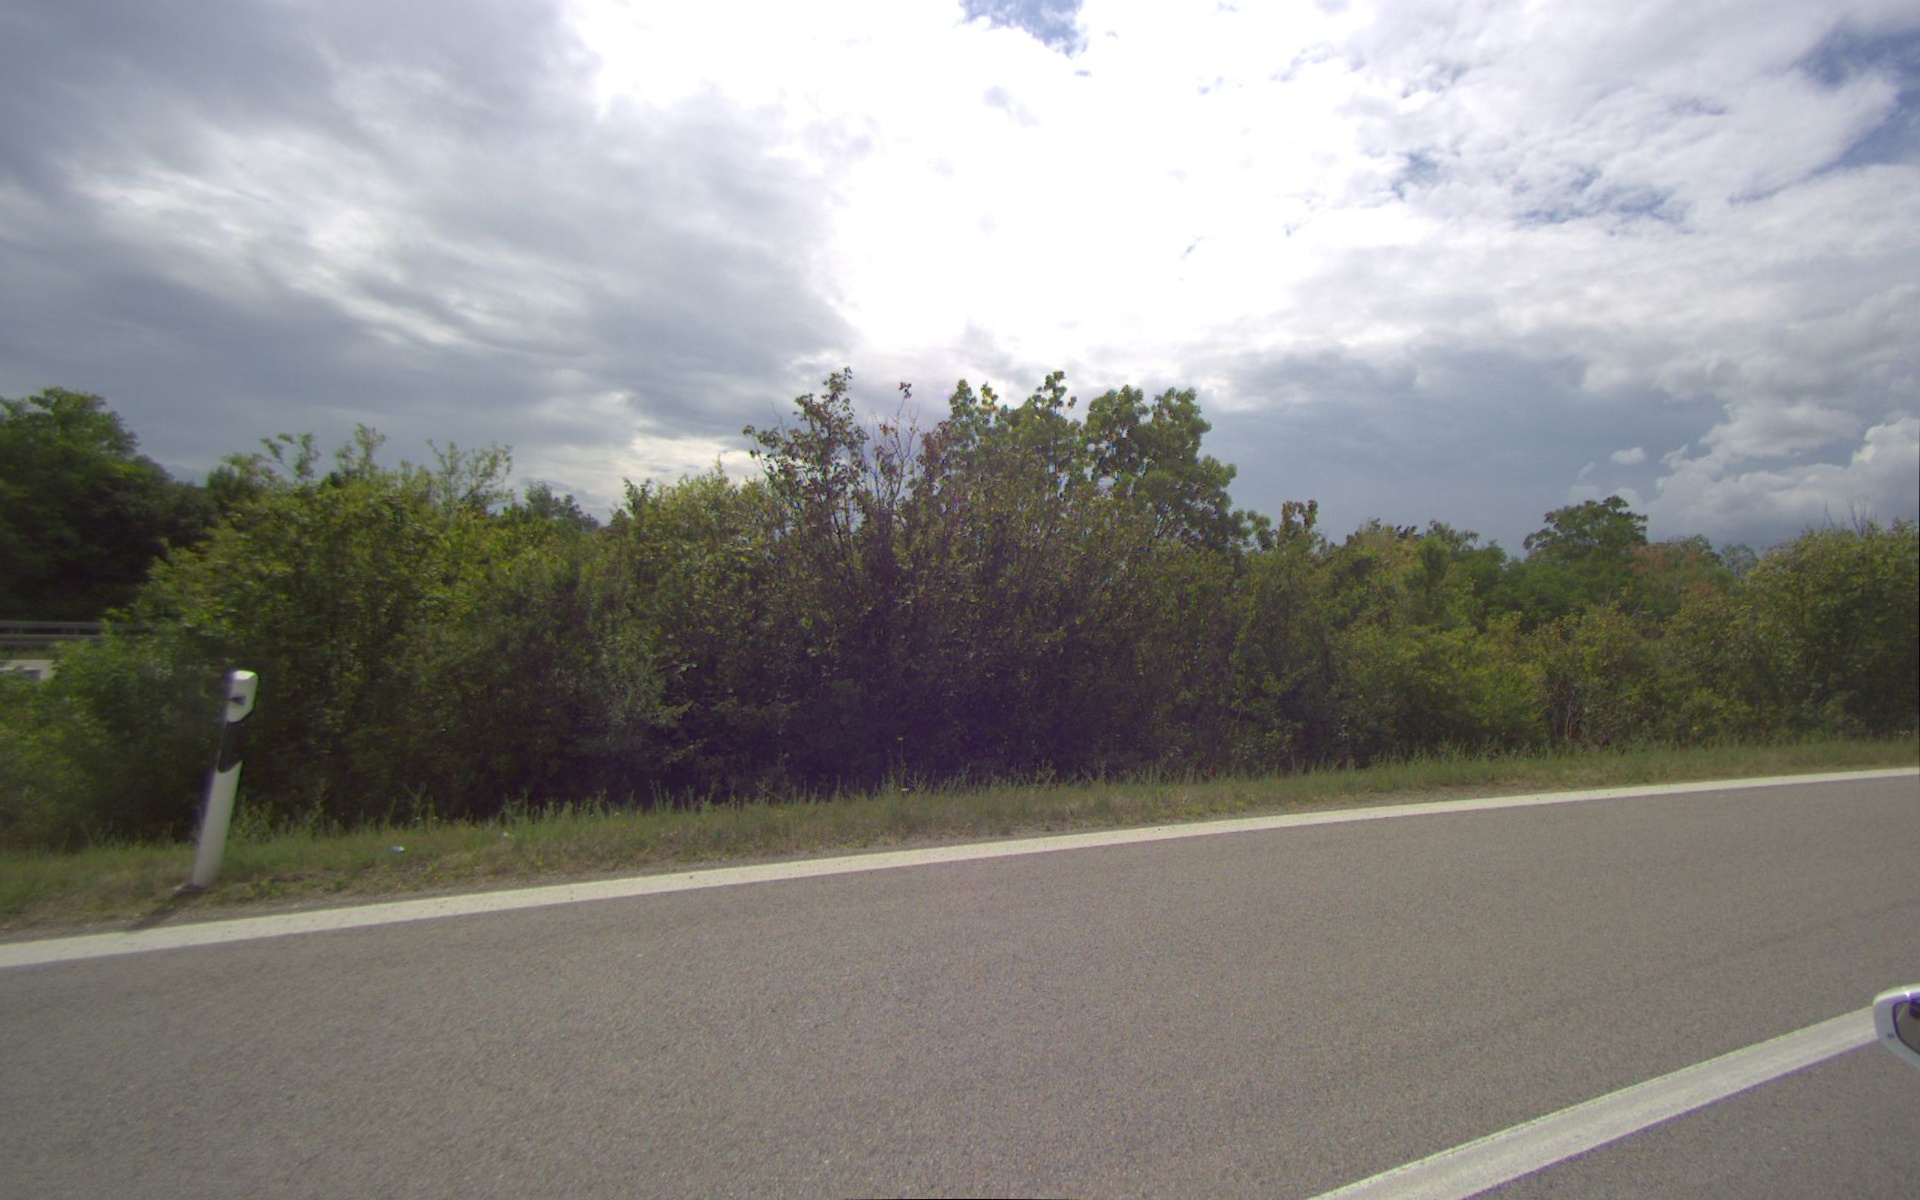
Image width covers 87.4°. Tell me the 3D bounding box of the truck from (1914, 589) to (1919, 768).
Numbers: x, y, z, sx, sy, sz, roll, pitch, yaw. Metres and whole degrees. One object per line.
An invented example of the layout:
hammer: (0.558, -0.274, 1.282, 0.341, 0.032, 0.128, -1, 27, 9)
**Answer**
truck: (14.265, 0.341, 10.919, 7.354, 3.210, 2.557, 2, 0, -20)
